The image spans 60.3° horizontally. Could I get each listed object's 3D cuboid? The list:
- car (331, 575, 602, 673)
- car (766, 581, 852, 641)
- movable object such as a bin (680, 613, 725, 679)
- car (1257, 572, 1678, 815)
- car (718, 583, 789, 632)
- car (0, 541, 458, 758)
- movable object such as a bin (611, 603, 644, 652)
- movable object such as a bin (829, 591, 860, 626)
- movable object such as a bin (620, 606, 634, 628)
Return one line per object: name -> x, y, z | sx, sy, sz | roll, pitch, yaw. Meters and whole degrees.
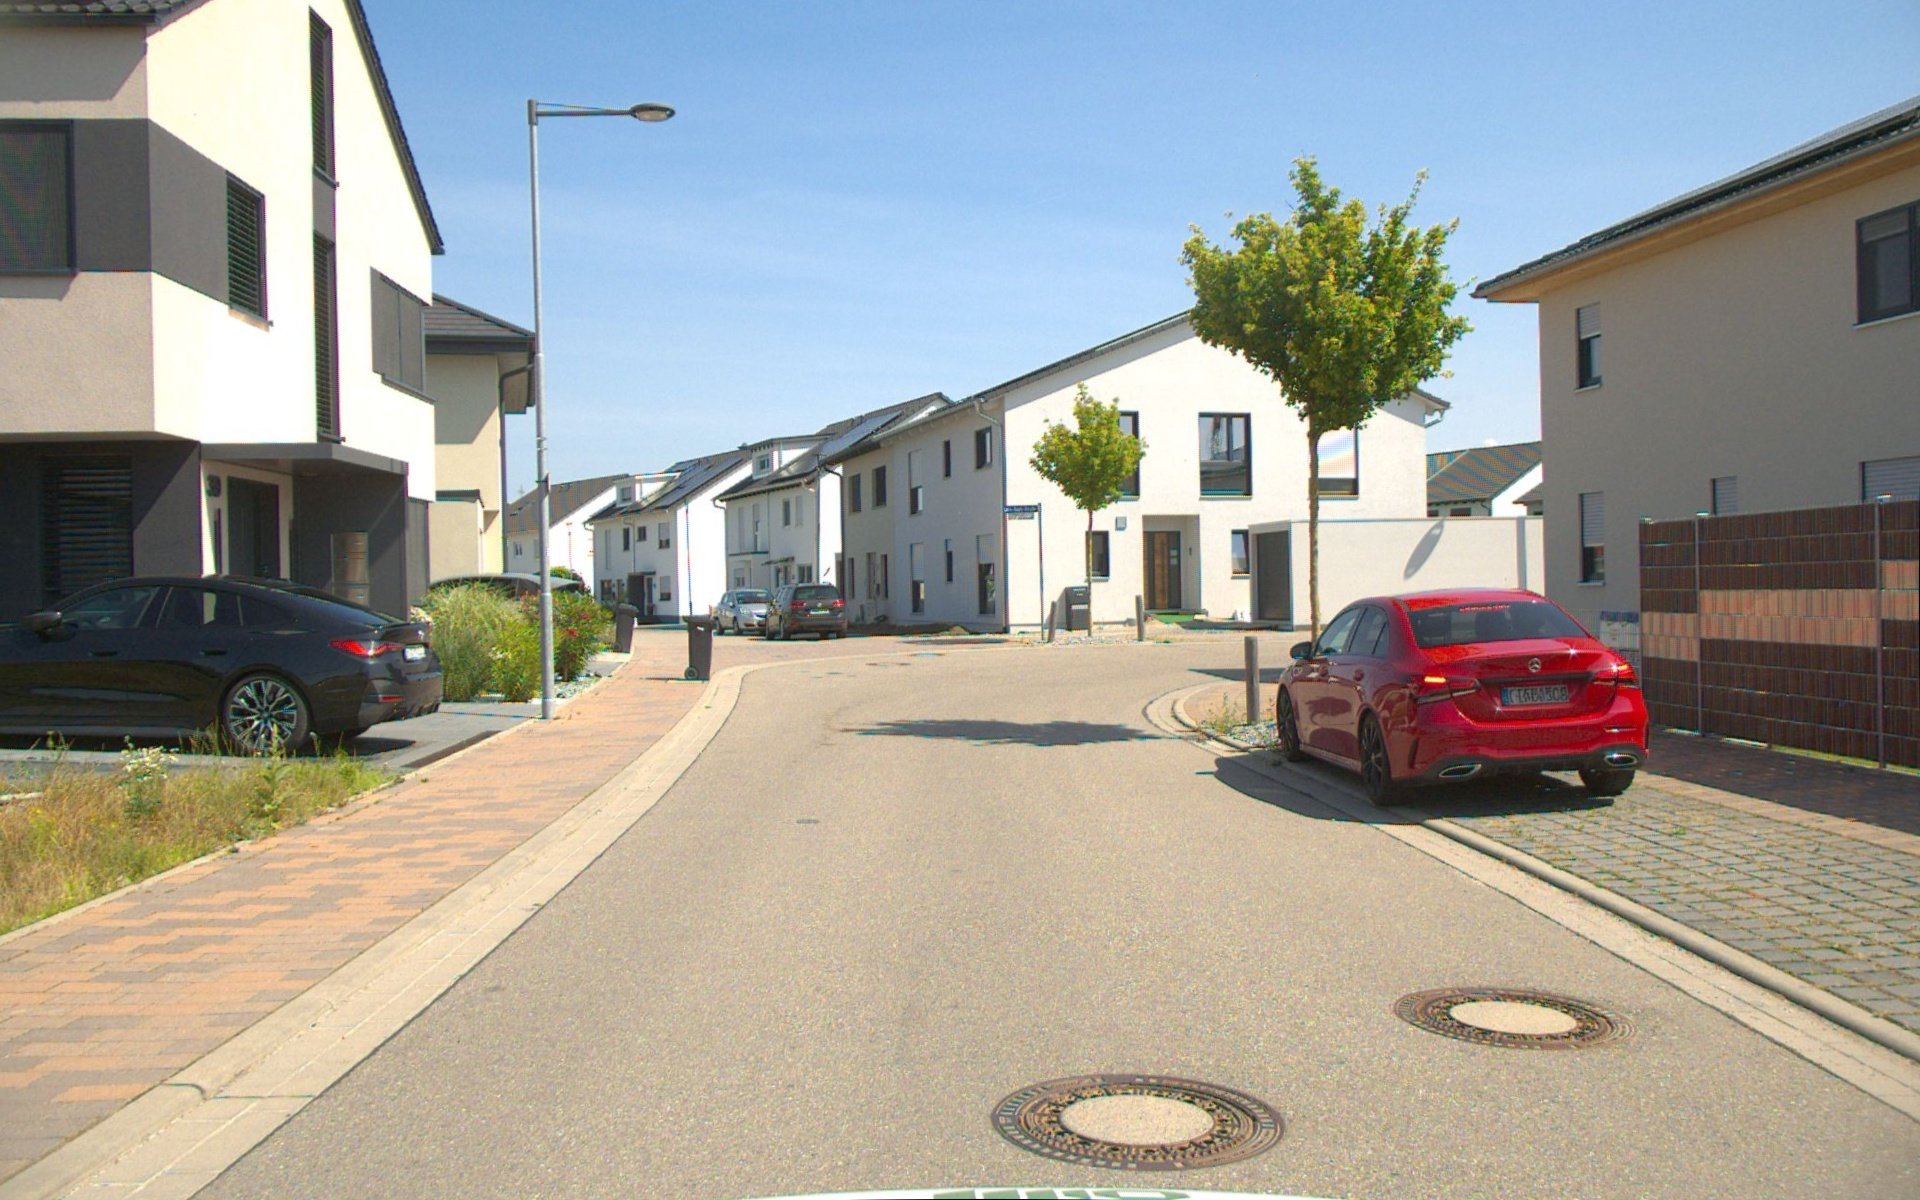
car -> -8.040, 0.372, 27.211 | 3.906, 1.512, 1.754 | -1, 0, -1
car -> -4.057, 0.272, 44.062 | 1.697, 1.447, 3.986 | -2, 0, -14
movable object such as a bin -> -3.799, 0.674, 24.382 | 0.523, 0.952, 0.526 | 1, 0, 7
car -> 3.628, 0.574, 12.748 | 1.727, 1.463, 4.518 | -2, 0, -1
car -> -6.739, 0.239, 53.696 | 1.650, 1.489, 3.927 | -2, 0, -16
car -> -6.687, 0.380, 14.026 | 4.288, 1.660, 1.770 | 1, 0, -3
movable object such as a bin -> -6.603, 0.540, 32.807 | 0.604, 0.943, 0.422 | 2, -1, -13
movable object such as a bin -> -3.778, 0.278, 54.093 | 0.772, 1.068, 0.800 | -4, 1, -19
movable object such as a bin -> -14.612, 0.738, 72.564 | 0.549, 0.965, 0.245 | -1, 0, -21
